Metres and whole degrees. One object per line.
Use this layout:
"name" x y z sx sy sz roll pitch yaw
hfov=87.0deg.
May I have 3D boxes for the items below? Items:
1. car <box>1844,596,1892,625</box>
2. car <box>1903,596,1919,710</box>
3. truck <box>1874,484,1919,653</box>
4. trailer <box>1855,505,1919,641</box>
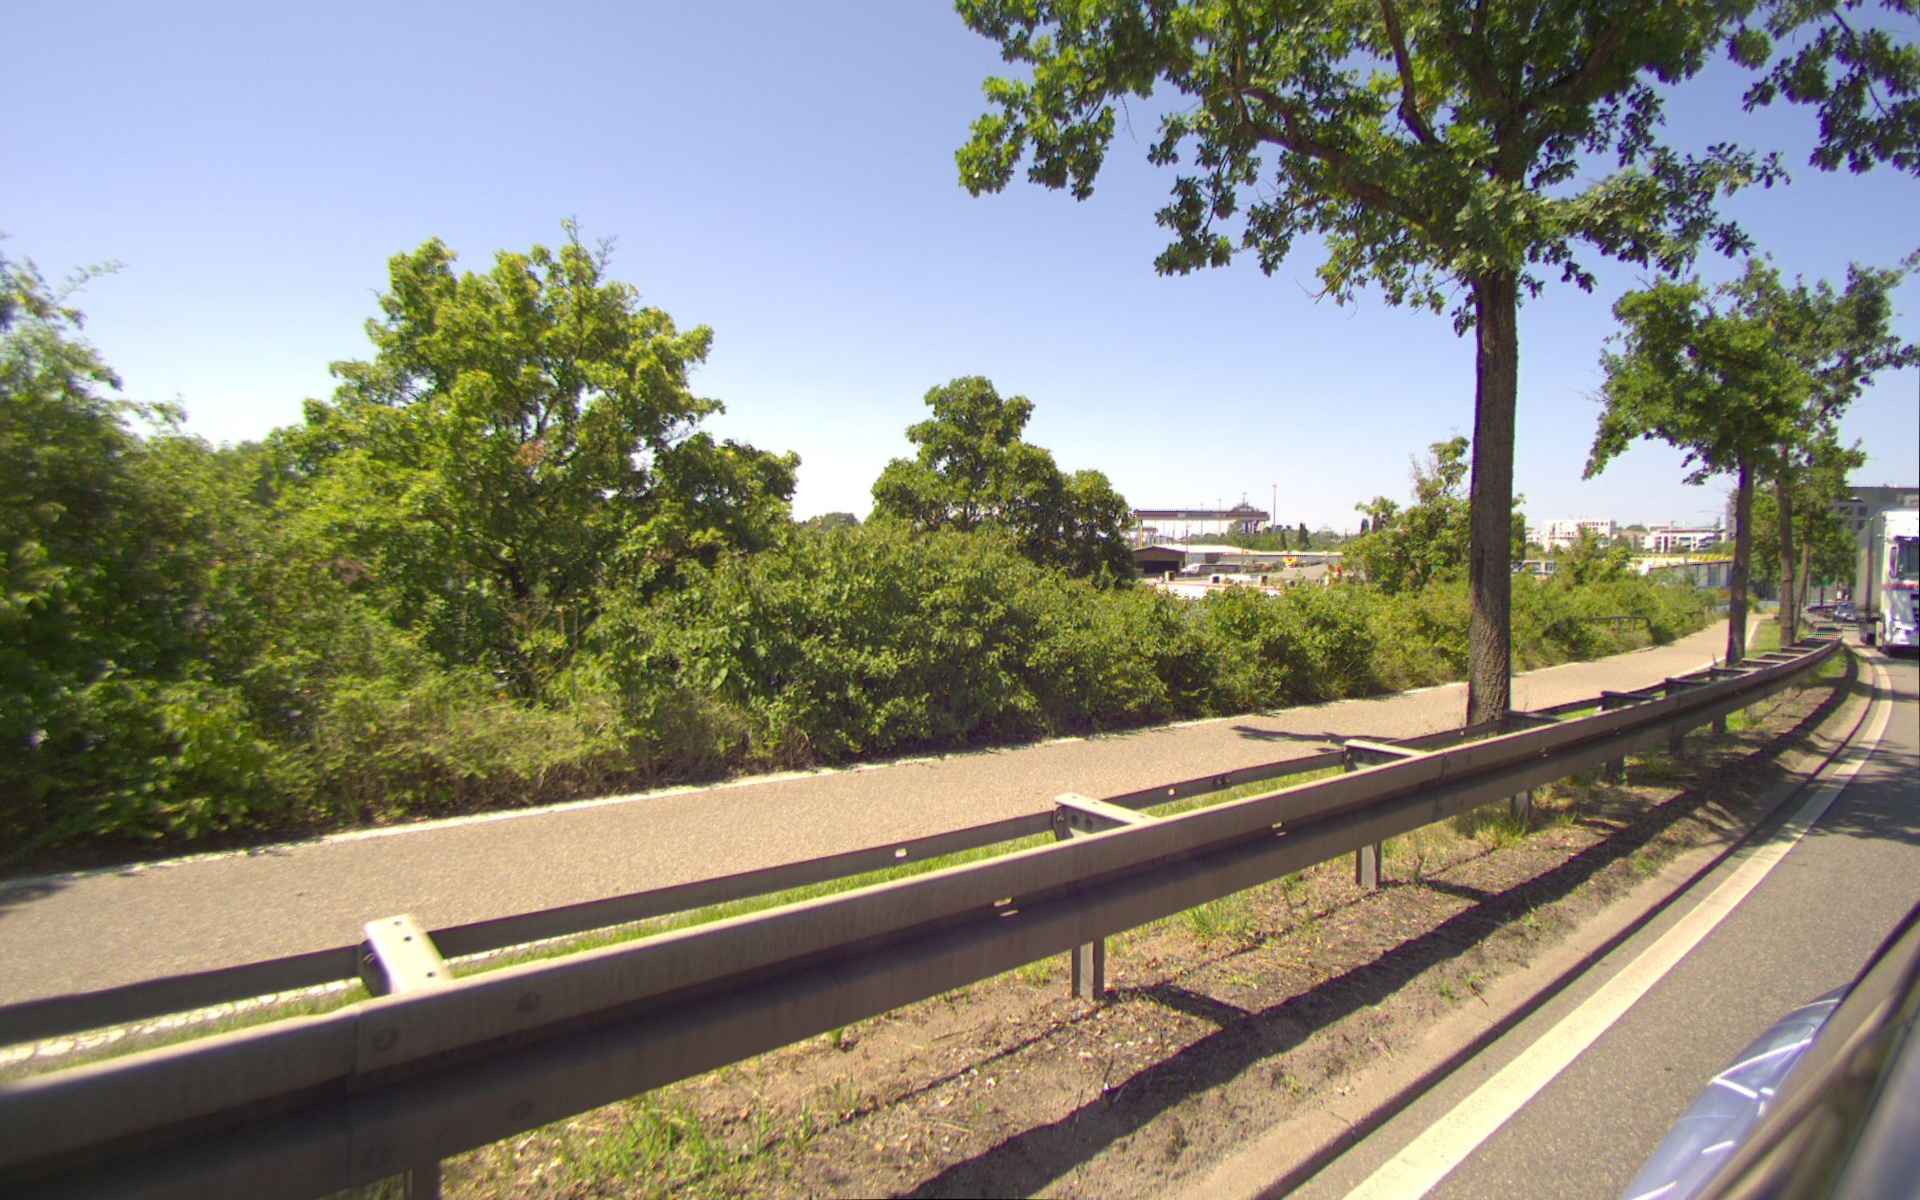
"car" 52.834 0.555 58.876 1.971 1.596 3.937 1 1 44
"car" 14.119 0.682 13.551 3.650 1.446 1.815 0 1 -41
"truck" 28.051 -0.817 28.613 2.846 4.322 8.690 1 1 39
"trailer" 34.903 -0.874 36.948 2.870 4.267 13.805 1 1 40
